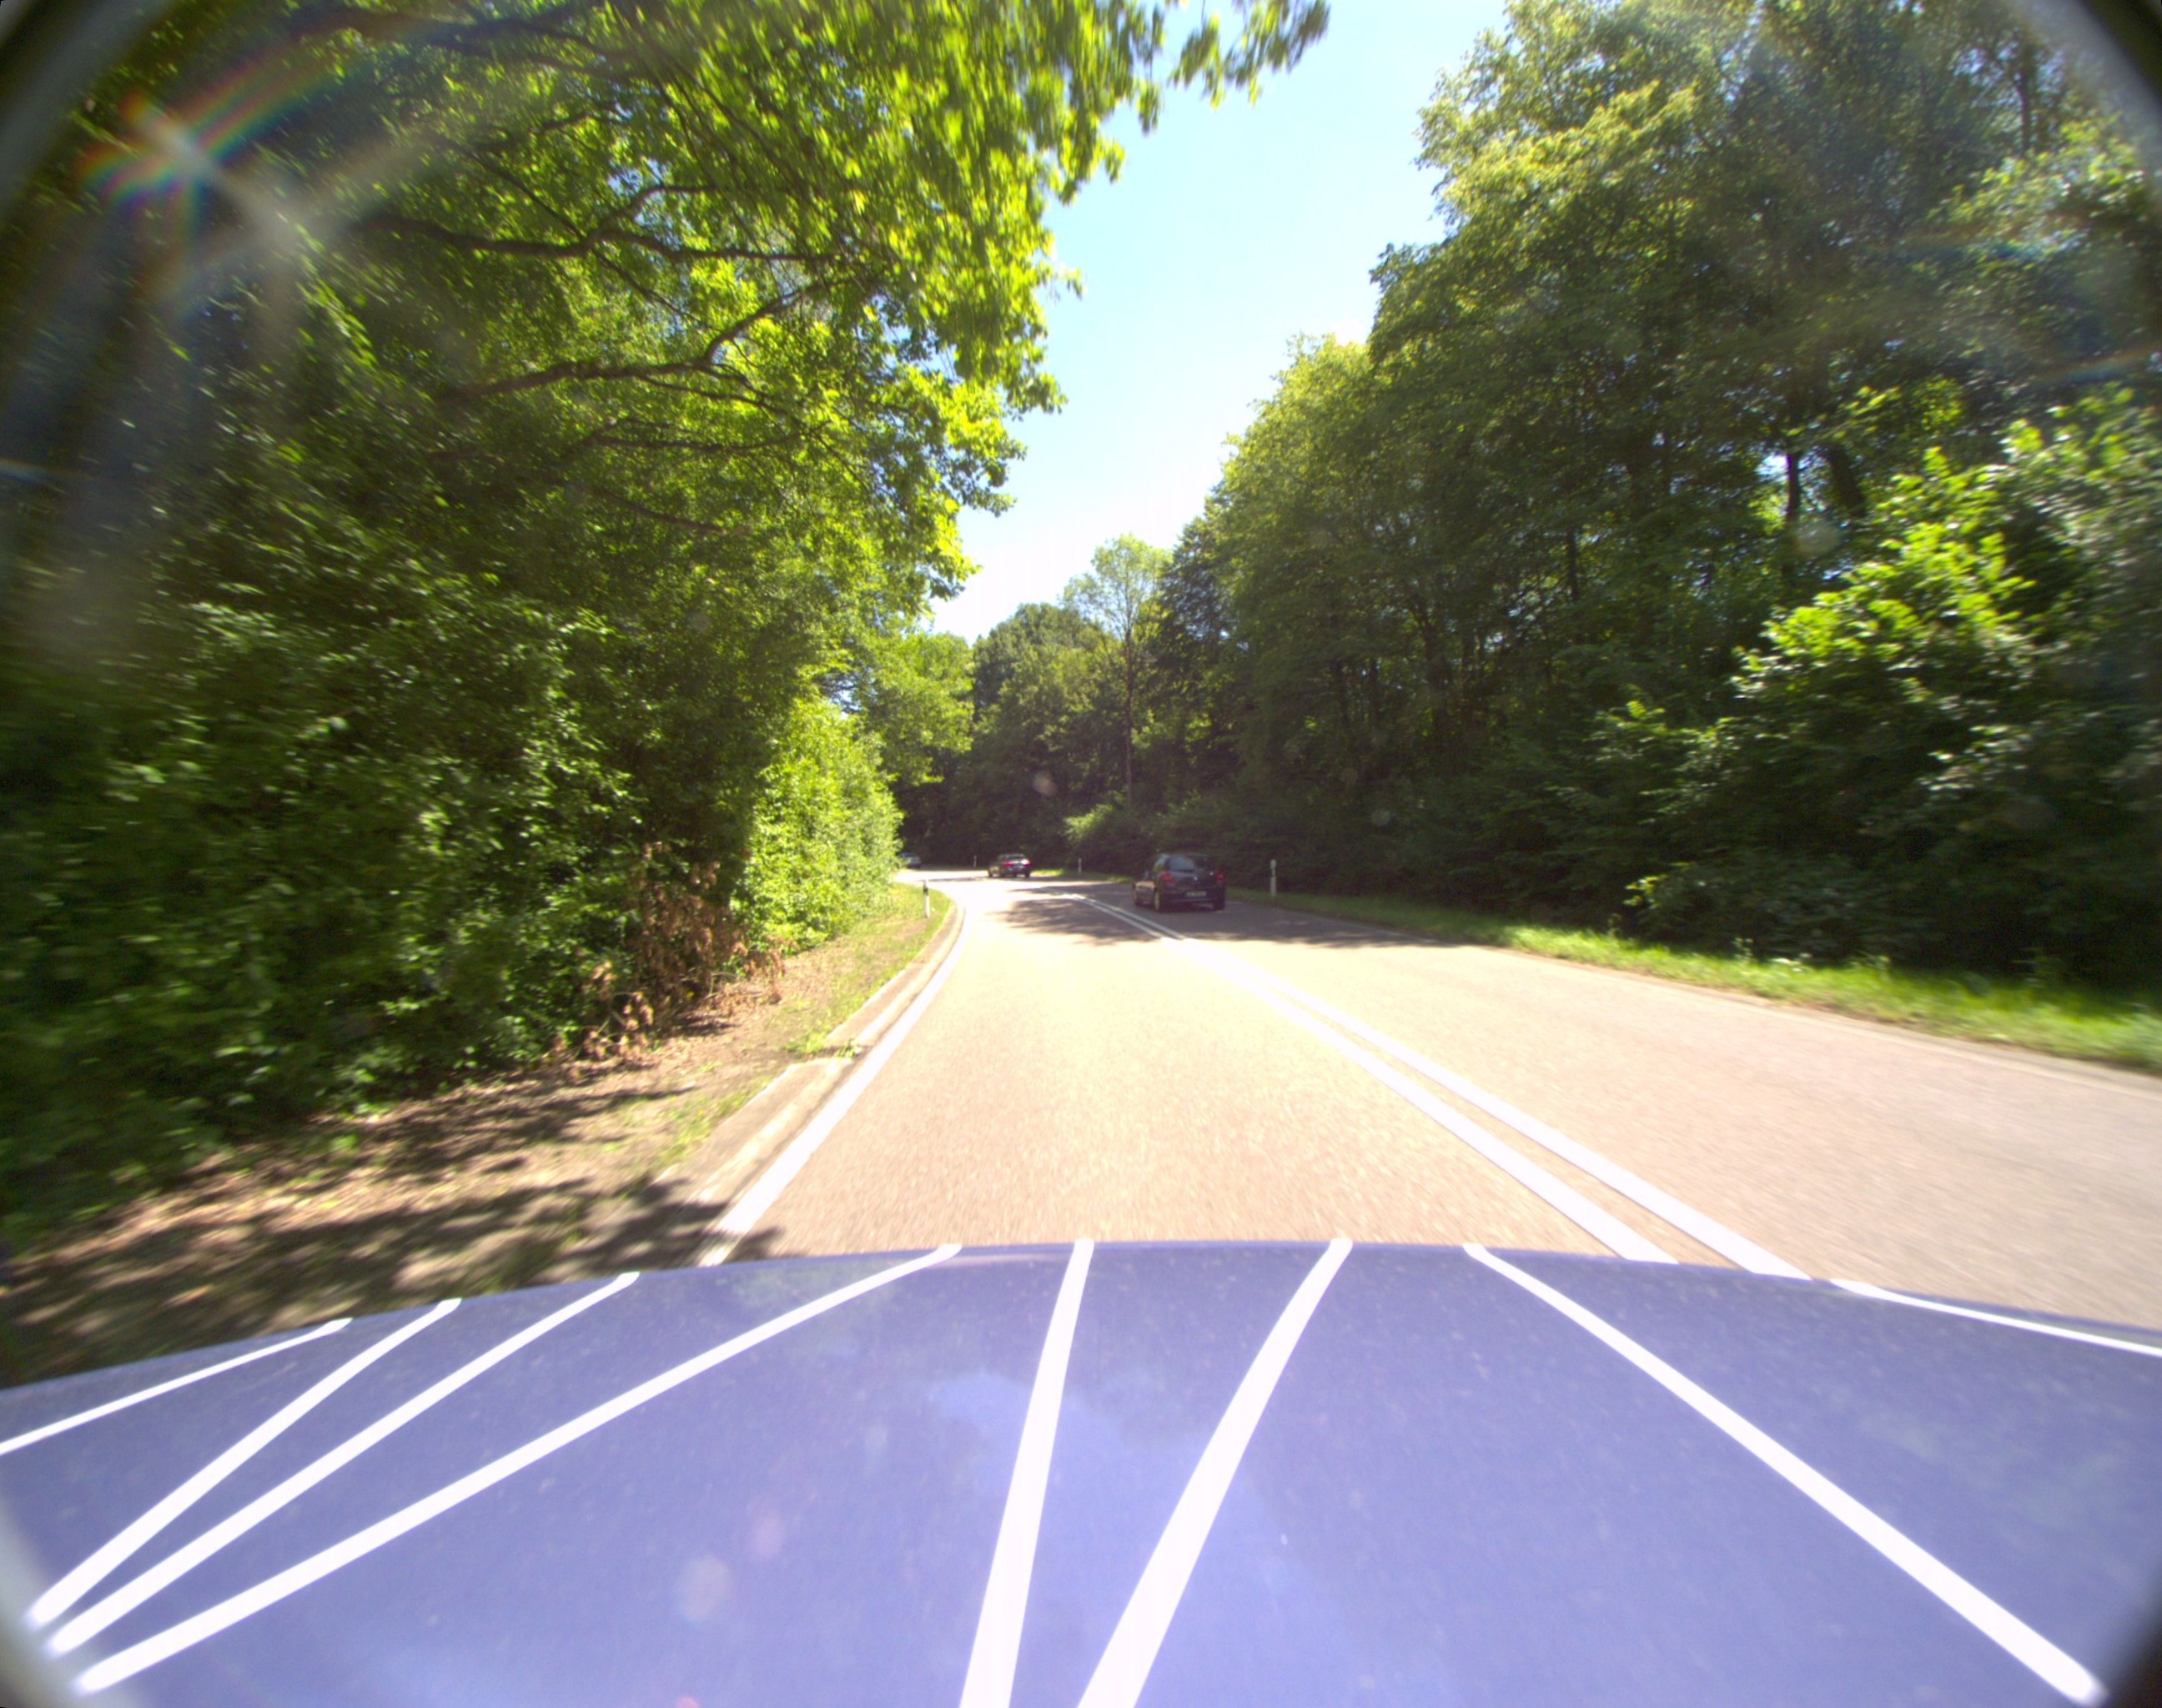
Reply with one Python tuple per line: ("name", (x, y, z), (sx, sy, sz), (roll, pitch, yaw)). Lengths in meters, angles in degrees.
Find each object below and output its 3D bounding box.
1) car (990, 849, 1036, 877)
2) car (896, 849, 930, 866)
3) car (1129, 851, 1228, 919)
("car", (-4.212, 0.502, 46.551), (1.764, 1.565, 4.359), (-1, 1, -19))
("car", (-16.017, 0.327, 72.416), (1.854, 1.477, 4.753), (0, 1, -30))
("car", (2.413, 0.716, 19.763), (1.682, 1.565, 3.892), (0, 1, -6))
